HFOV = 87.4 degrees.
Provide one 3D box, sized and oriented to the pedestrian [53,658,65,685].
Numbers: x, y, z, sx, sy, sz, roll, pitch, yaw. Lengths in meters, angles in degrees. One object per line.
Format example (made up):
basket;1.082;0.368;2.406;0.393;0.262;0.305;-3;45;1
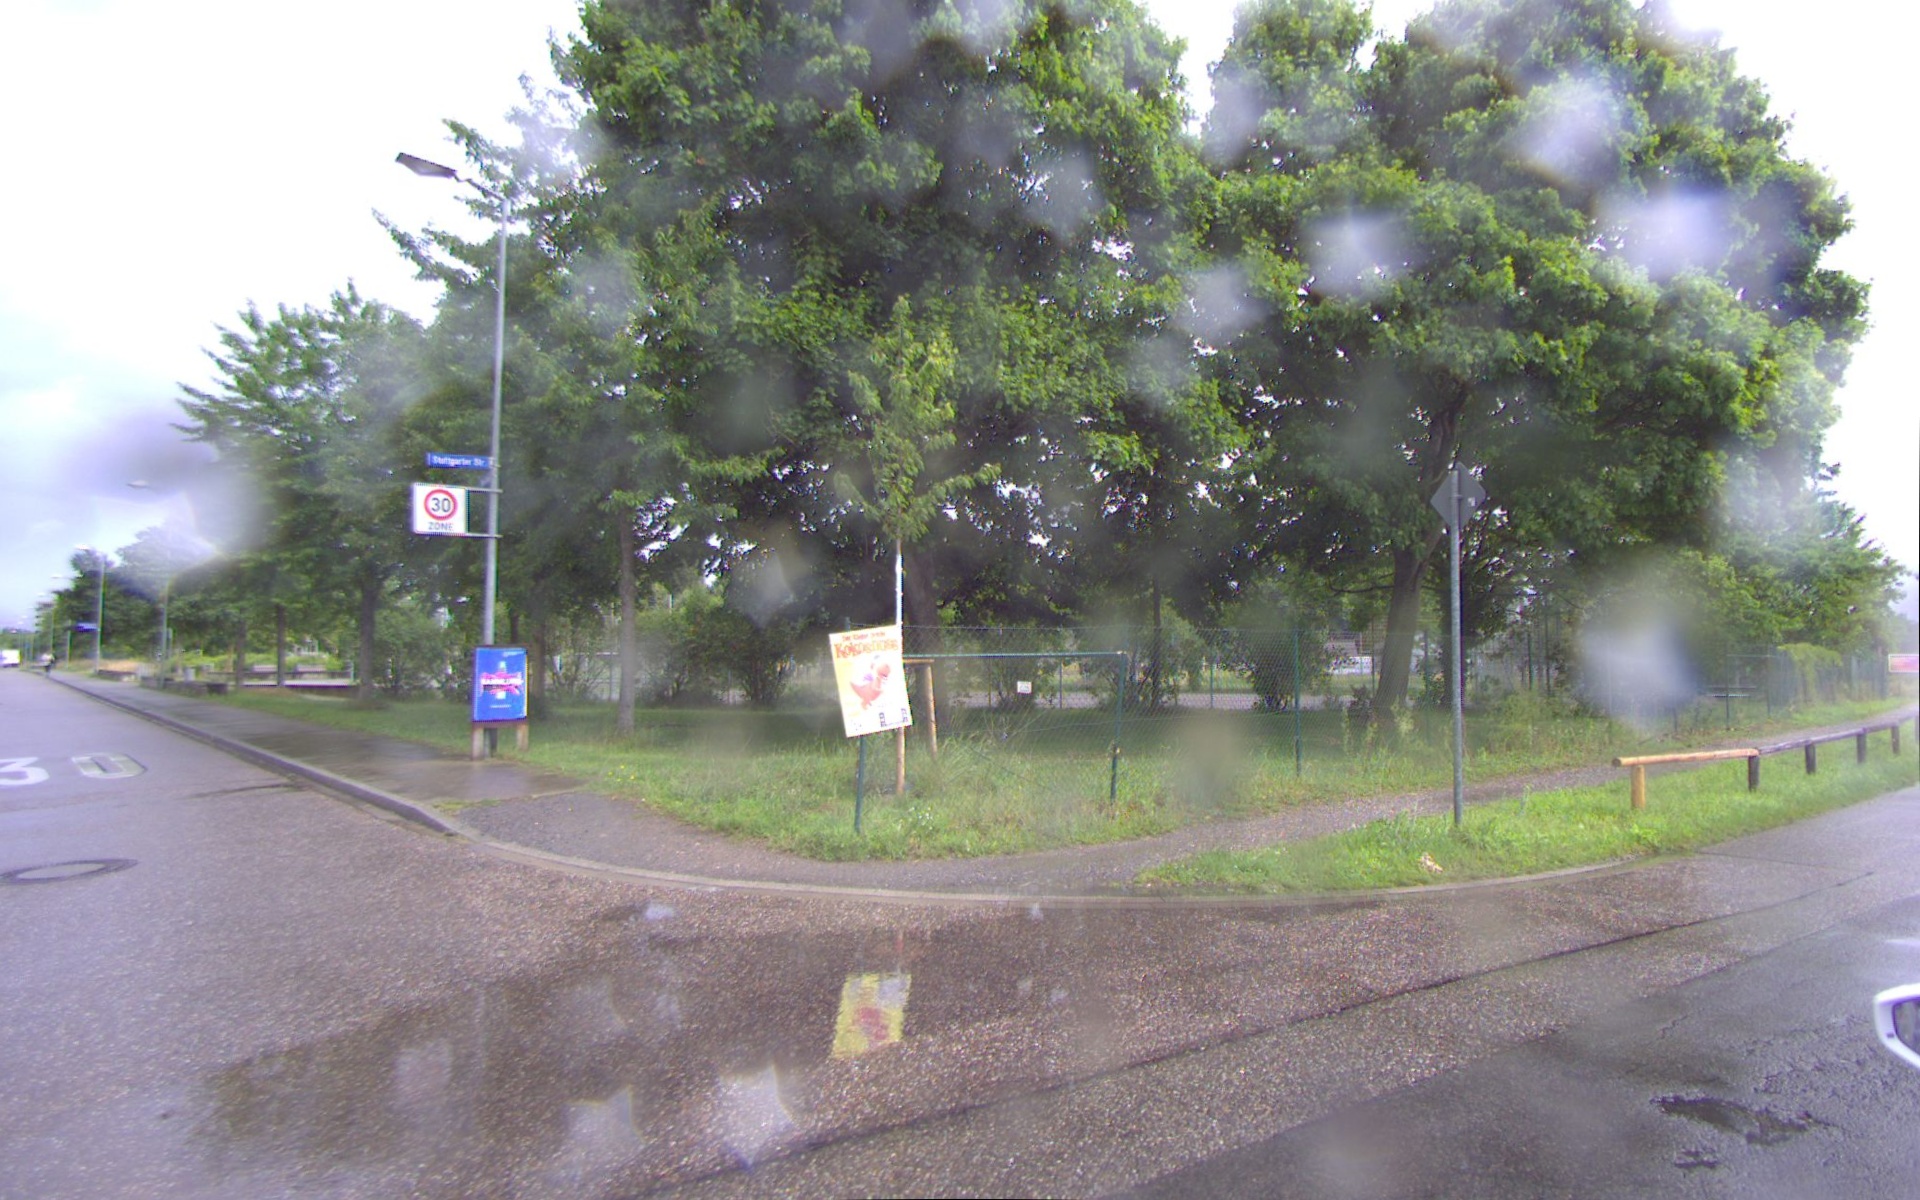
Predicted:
pedestrian;-57.574;4.579;64.199;0.508;1.685;0.488;3;-4;-43

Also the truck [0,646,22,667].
truck;-123.461;7.311;130.634;1.965;2.384;6.368;2;-1;-45
